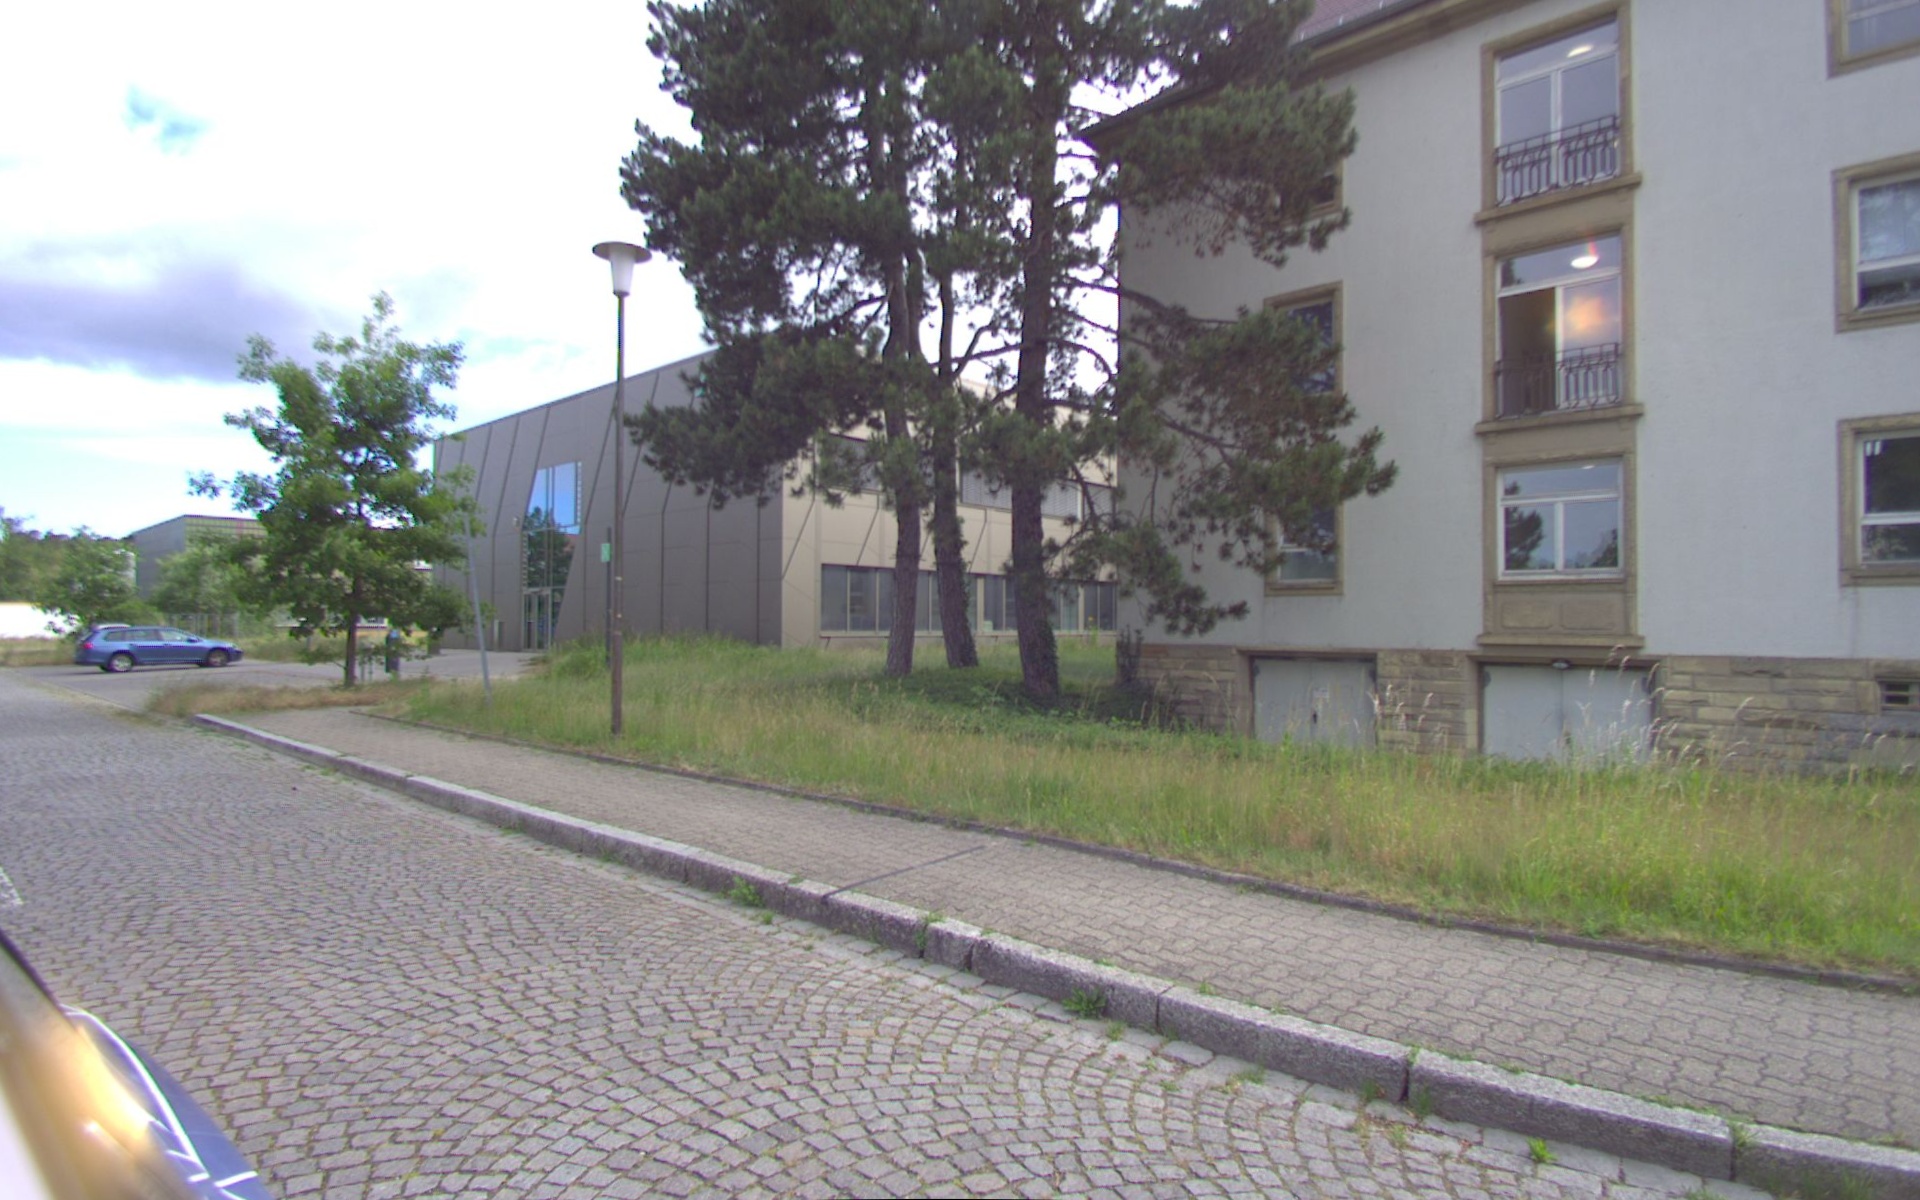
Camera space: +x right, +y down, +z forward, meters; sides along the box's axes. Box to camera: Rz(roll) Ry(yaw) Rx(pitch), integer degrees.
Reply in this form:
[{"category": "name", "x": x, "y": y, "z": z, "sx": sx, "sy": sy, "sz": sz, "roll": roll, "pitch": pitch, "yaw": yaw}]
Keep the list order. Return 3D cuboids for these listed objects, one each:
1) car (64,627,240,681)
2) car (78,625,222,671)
[{"category": "car", "x": -27.031, "y": 1.758, "z": 33.982, "sx": 1.715, "sy": 1.521, "sz": 4.349, "roll": -1, "pitch": 0, "yaw": 39}, {"category": "car", "x": -31.866, "y": 1.836, "z": 39.880, "sx": 4.338, "sy": 1.557, "sz": 1.844, "roll": -1, "pitch": 0, "yaw": -41}]
